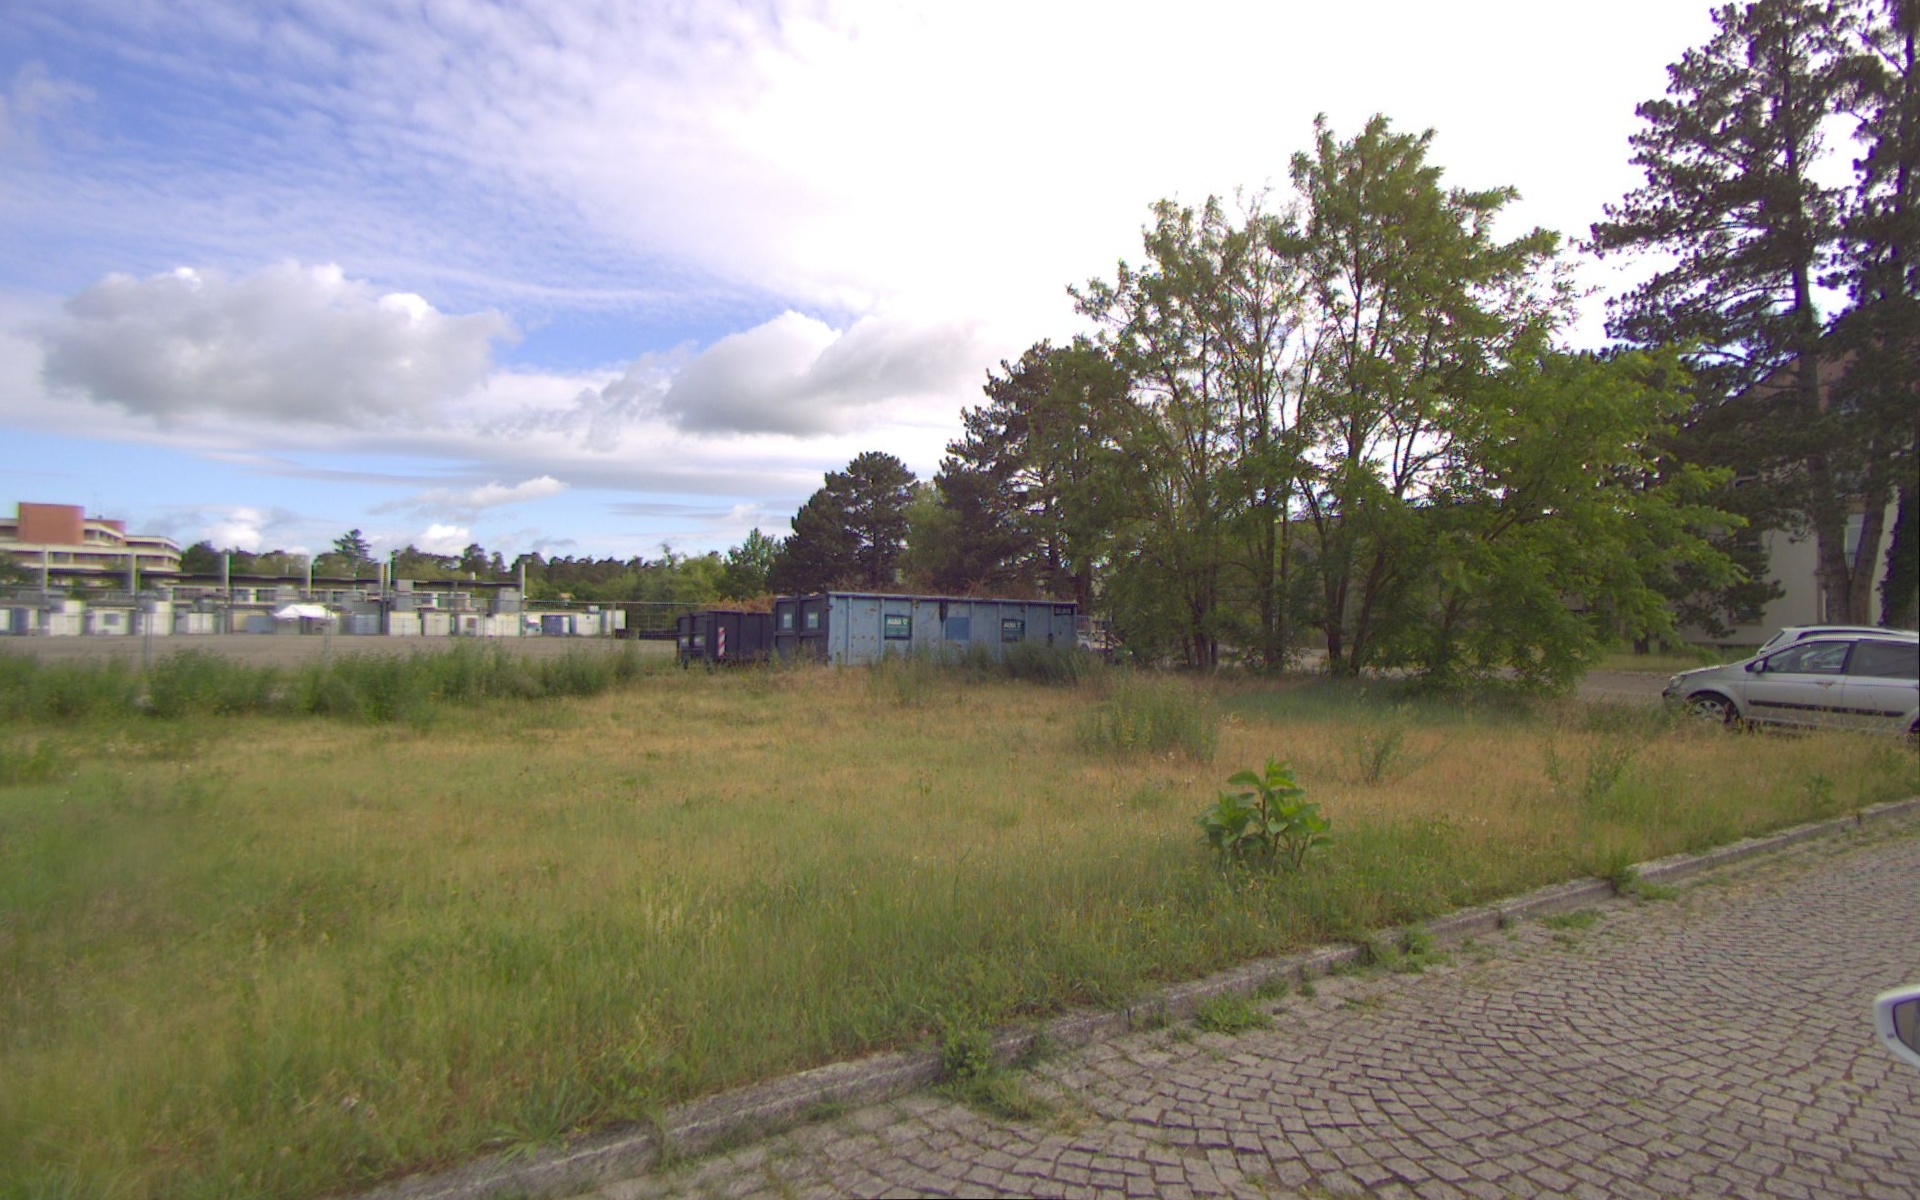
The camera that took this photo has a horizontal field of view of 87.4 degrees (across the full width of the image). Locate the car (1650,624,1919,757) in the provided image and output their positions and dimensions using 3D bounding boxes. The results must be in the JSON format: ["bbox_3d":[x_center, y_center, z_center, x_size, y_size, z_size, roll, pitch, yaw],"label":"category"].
[{"bbox_3d":[11.838,1.158,13.640,1.656,1.500,3.696,1,1,-35],"label":"car"}]

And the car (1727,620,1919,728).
[{"bbox_3d":[15.952,1.235,17.140,1.638,1.755,4.267,1,-2,-37],"label":"car"}]

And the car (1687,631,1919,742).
[{"bbox_3d":[13.862,1.259,15.247,1.796,1.574,4.266,2,-3,-38],"label":"car"}]

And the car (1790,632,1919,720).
[{"bbox_3d":[18.078,1.378,18.314,1.796,1.574,4.266,2,-3,-38],"label":"car"}]
